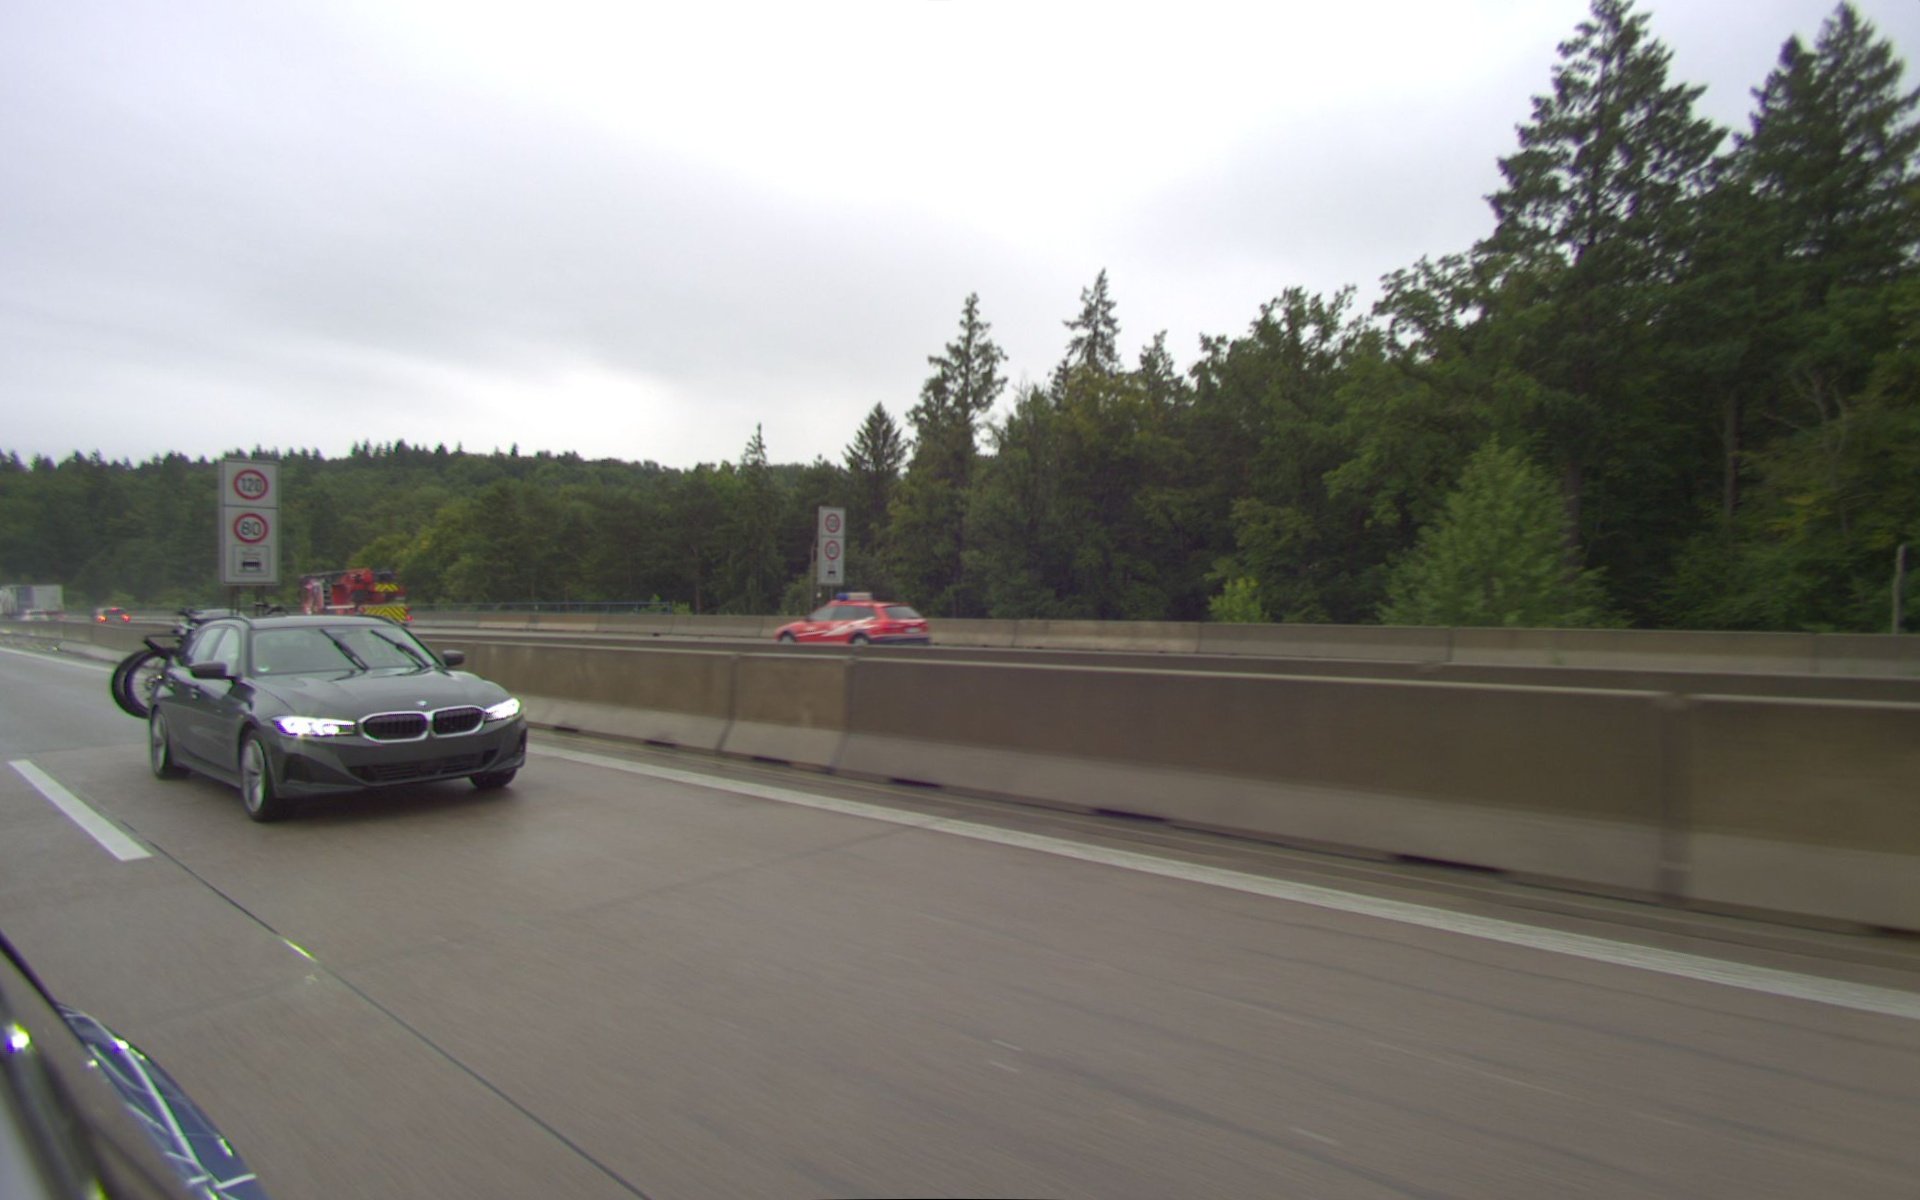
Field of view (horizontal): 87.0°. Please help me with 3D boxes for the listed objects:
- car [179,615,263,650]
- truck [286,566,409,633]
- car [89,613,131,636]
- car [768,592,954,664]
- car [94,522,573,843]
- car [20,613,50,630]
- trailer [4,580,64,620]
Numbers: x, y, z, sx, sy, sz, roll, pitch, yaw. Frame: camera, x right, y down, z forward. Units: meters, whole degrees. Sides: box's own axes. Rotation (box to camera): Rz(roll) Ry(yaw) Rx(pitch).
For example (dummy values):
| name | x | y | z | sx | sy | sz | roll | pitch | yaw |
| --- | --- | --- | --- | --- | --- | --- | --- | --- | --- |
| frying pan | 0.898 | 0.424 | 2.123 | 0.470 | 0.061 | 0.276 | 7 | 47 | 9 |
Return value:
| name | x | y | z | sx | sy | sz | roll | pitch | yaw |
| --- | --- | --- | --- | --- | --- | --- | --- | --- | --- |
| car | -32.003 | 1.377 | 43.768 | 4.750 | 1.401 | 1.973 | -1 | 0 | 42 |
| truck | -31.905 | 0.028 | 52.486 | 10.658 | 3.198 | 2.407 | -1 | 0 | 42 |
| car | -61.479 | 1.778 | 73.192 | 4.266 | 1.590 | 1.687 | -1 | 0 | 41 |
| car | -2.677 | 0.691 | 26.436 | 4.972 | 1.712 | 1.973 | -1 | -1 | 41 |
| car | -5.841 | 0.536 | 8.932 | 6.159 | 1.959 | 1.888 | -1 | -1 | 41 |
| car | -85.906 | 1.998 | 93.988 | 3.636 | 1.532 | 1.640 | -1 | 1 | 41 |
| trailer | -100.596 | 0.093 | 109.846 | 13.776 | 4.063 | 2.917 | -1 | 0 | 40 |
